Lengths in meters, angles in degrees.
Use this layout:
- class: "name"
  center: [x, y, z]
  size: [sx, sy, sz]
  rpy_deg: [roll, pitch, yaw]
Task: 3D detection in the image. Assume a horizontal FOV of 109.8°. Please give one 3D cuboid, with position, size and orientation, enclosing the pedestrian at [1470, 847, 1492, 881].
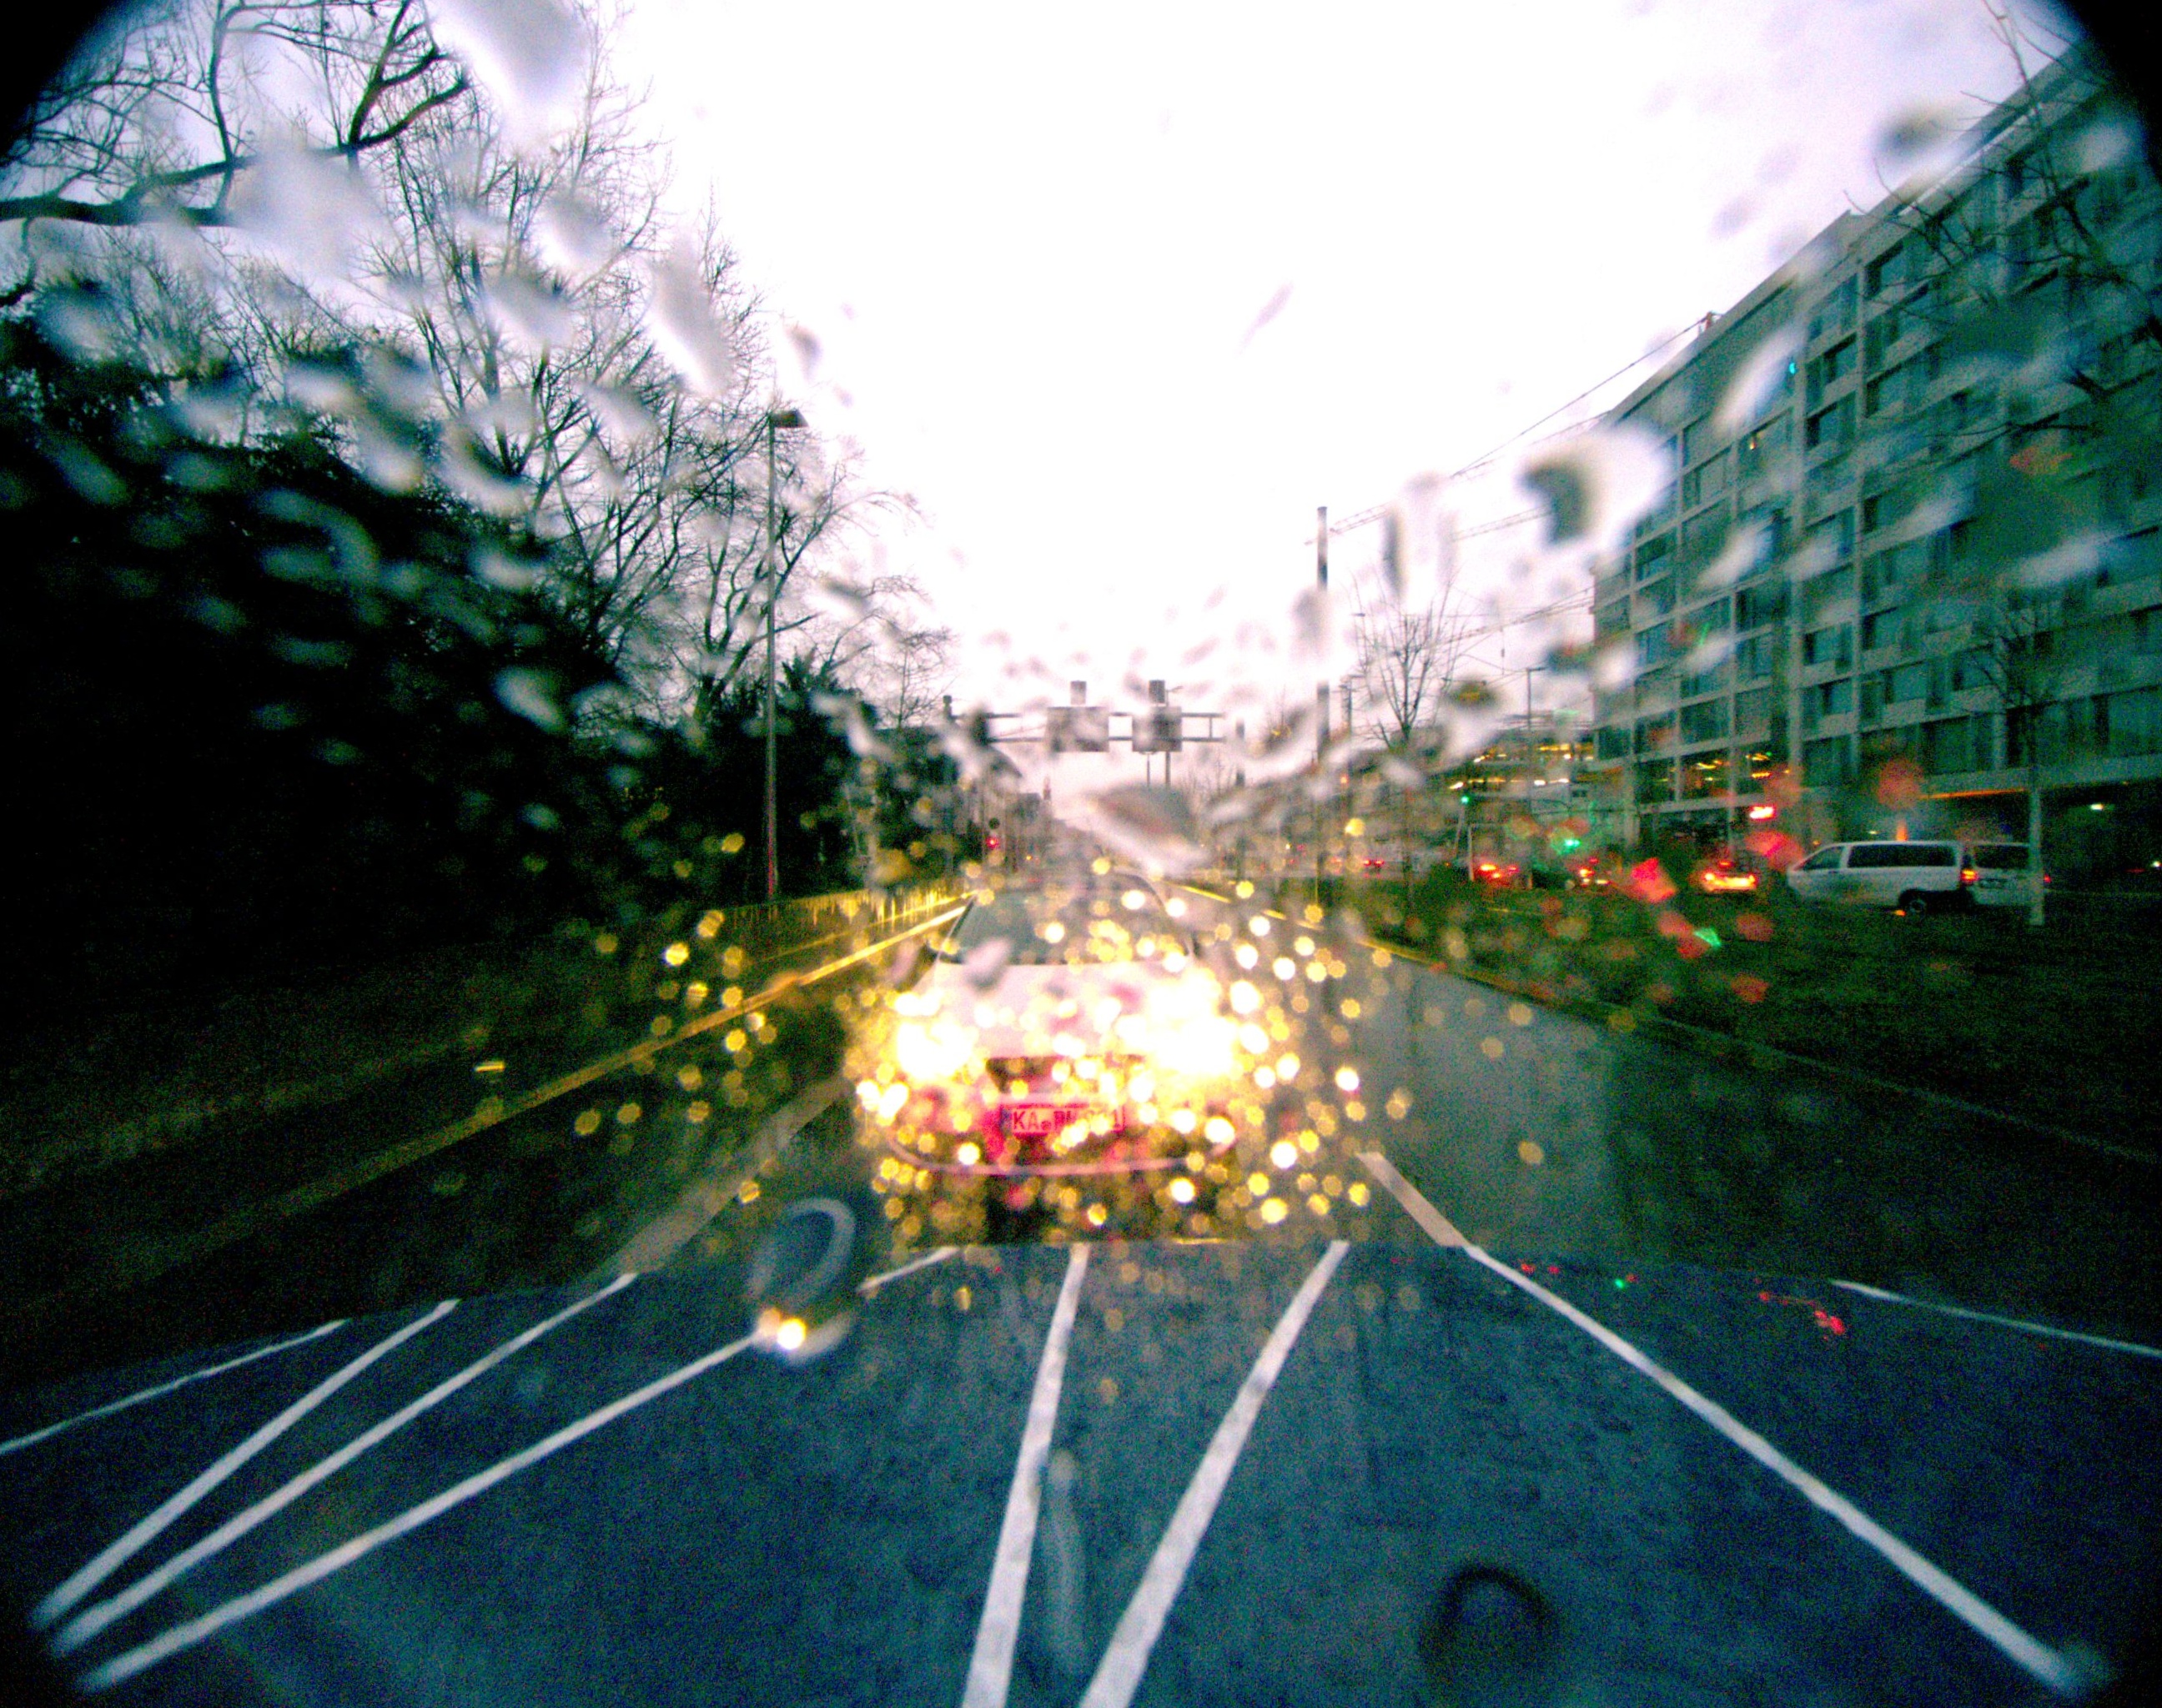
- class: "pedestrian"
  center: [21.808, 0.524, 41.403]
  size: [0.769, 1.794, 0.710]
  rpy_deg: [-2, 1, 0]

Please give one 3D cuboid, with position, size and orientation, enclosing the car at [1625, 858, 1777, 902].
- class: "car"
  center: [20.384, 0.814, 25.238]
  size: [1.816, 1.300, 4.000]
  rpy_deg: [0, 0, 1]

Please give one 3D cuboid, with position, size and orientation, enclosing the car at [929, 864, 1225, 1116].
- class: "car"
  center: [0.001, 0.896, 6.935]
  size: [1.886, 1.552, 4.171]
  rpy_deg: [0, 0, 1]

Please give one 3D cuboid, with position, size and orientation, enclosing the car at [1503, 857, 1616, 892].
- class: "car"
  center: [20.167, 0.821, 32.259]
  size: [2.111, 1.392, 4.257]
  rpy_deg: [0, 0, -1]

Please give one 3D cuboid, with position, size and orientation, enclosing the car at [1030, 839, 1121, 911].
- class: "car"
  center: [-0.101, 0.473, 20.061]
  size: [2.073, 1.618, 4.268]
  rpy_deg: [-2, 1, 1]

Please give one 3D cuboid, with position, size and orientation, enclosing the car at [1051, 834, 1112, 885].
- class: "car"
  center: [0.038, 0.165, 27.513]
  size: [1.998, 1.618, 4.268]
  rpy_deg: [-2, 0, 0]

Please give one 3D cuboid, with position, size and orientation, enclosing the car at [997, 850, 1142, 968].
- class: "car"
  center: [-0.214, 0.798, 13.280]
  size: [2.073, 1.618, 4.267]
  rpy_deg: [-2, 1, -1]

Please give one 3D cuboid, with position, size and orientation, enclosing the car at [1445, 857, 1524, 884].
- class: "car"
  center: [20.200, 0.805, 38.189]
  size: [1.816, 1.267, 3.999]
  rpy_deg: [0, 0, -1]

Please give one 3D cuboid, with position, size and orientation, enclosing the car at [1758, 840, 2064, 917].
- class: "car"
  center: [20.016, 0.523, 18.785]
  size: [2.086, 1.659, 5.043]
  rpy_deg: [0, 0, 1]
